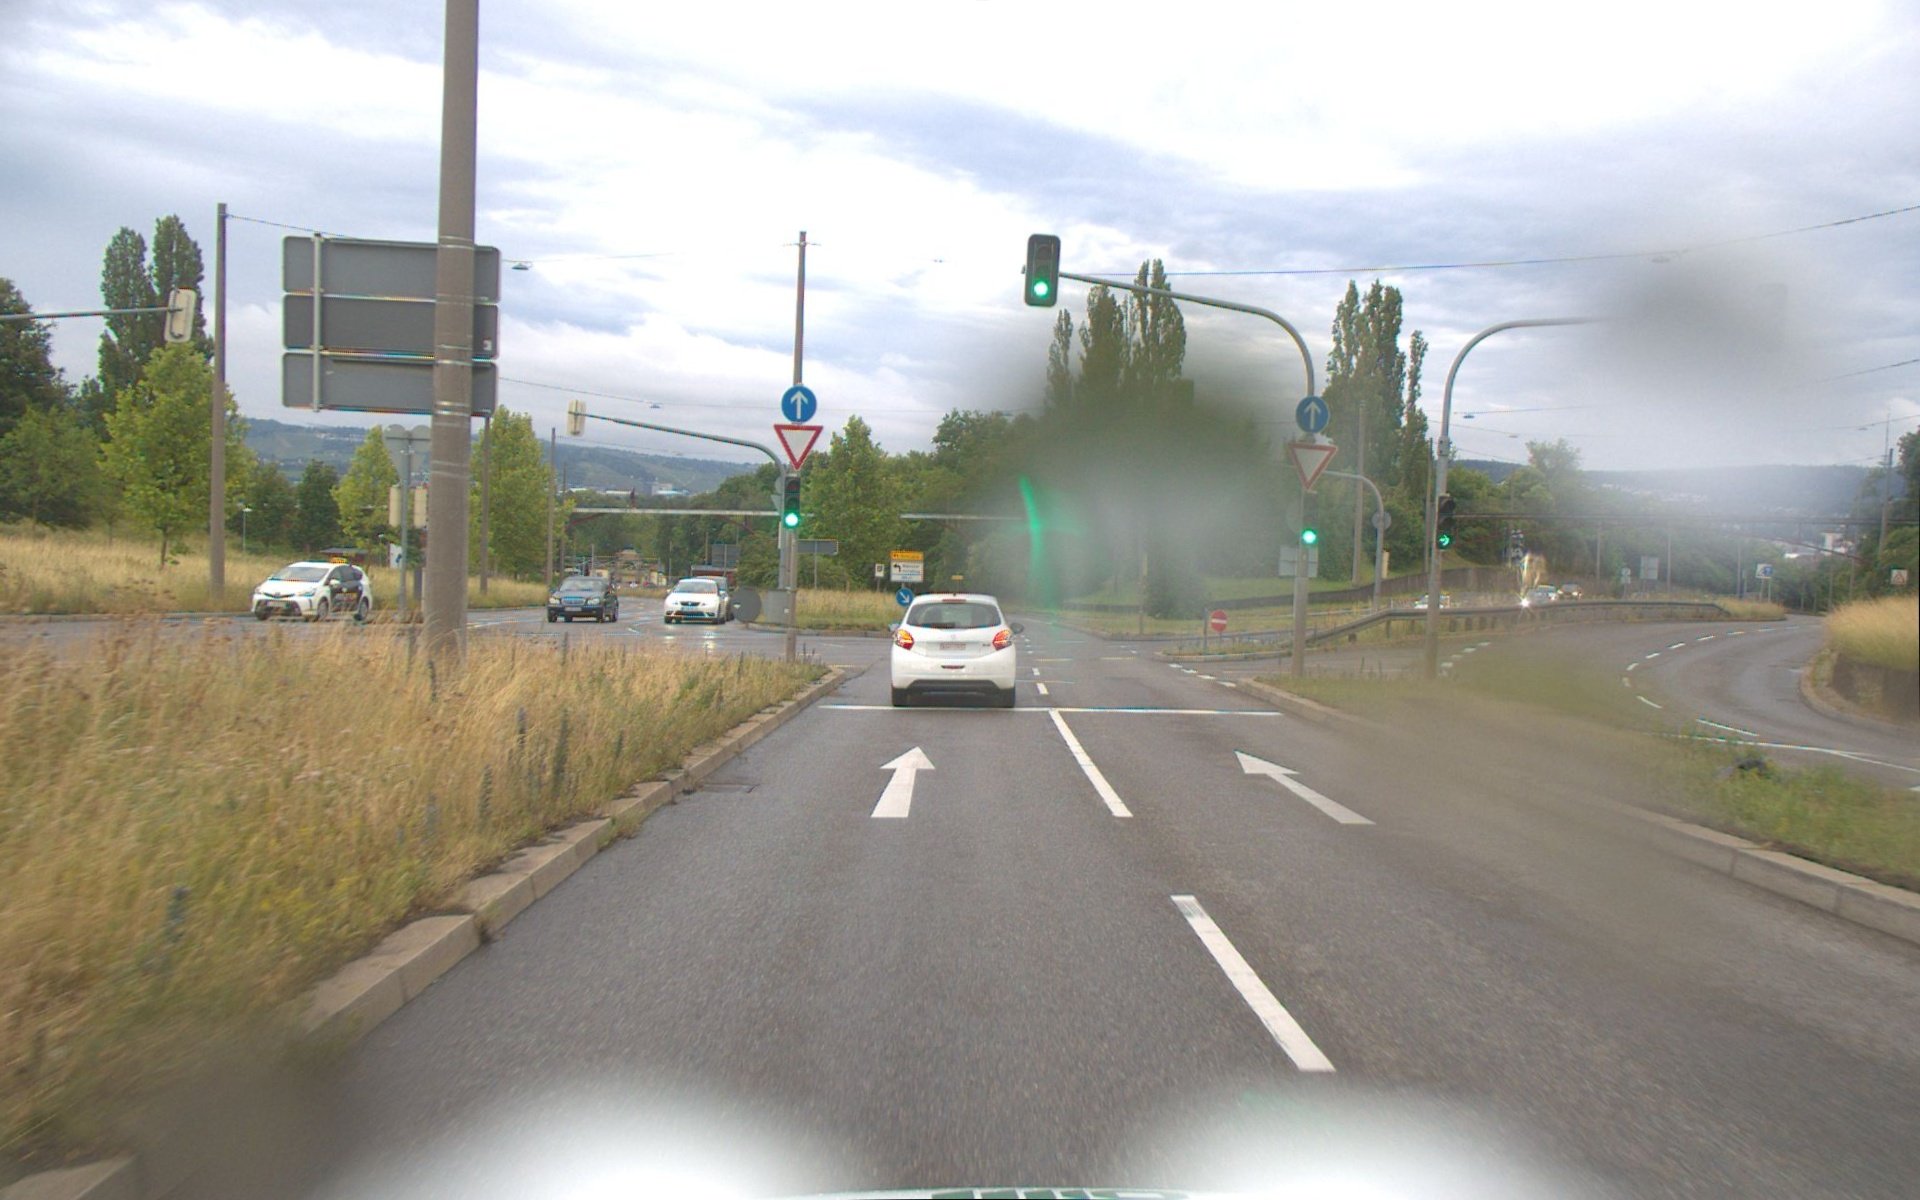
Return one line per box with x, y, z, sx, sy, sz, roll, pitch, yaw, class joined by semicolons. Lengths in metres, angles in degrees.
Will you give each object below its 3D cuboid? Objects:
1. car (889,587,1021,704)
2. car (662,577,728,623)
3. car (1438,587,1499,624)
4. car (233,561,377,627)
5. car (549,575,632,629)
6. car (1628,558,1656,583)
-0.021;0.595;22.942;1.673;1.465;3.691;1;-1;1;car
-8.642;0.019;54.220;1.703;1.397;3.997;2;-1;-4;car
26.270;0.263;85.398;1.959;1.645;3.989;5;4;33;car
-17.791;-0.127;45.172;1.846;1.639;4.677;3;-1;2;car
-11.498;0.091;51.730;1.857;1.564;3.997;2;-1;-3;car
62.045;-2.708;150.481;2.034;2.119;4.369;4;4;25;car
